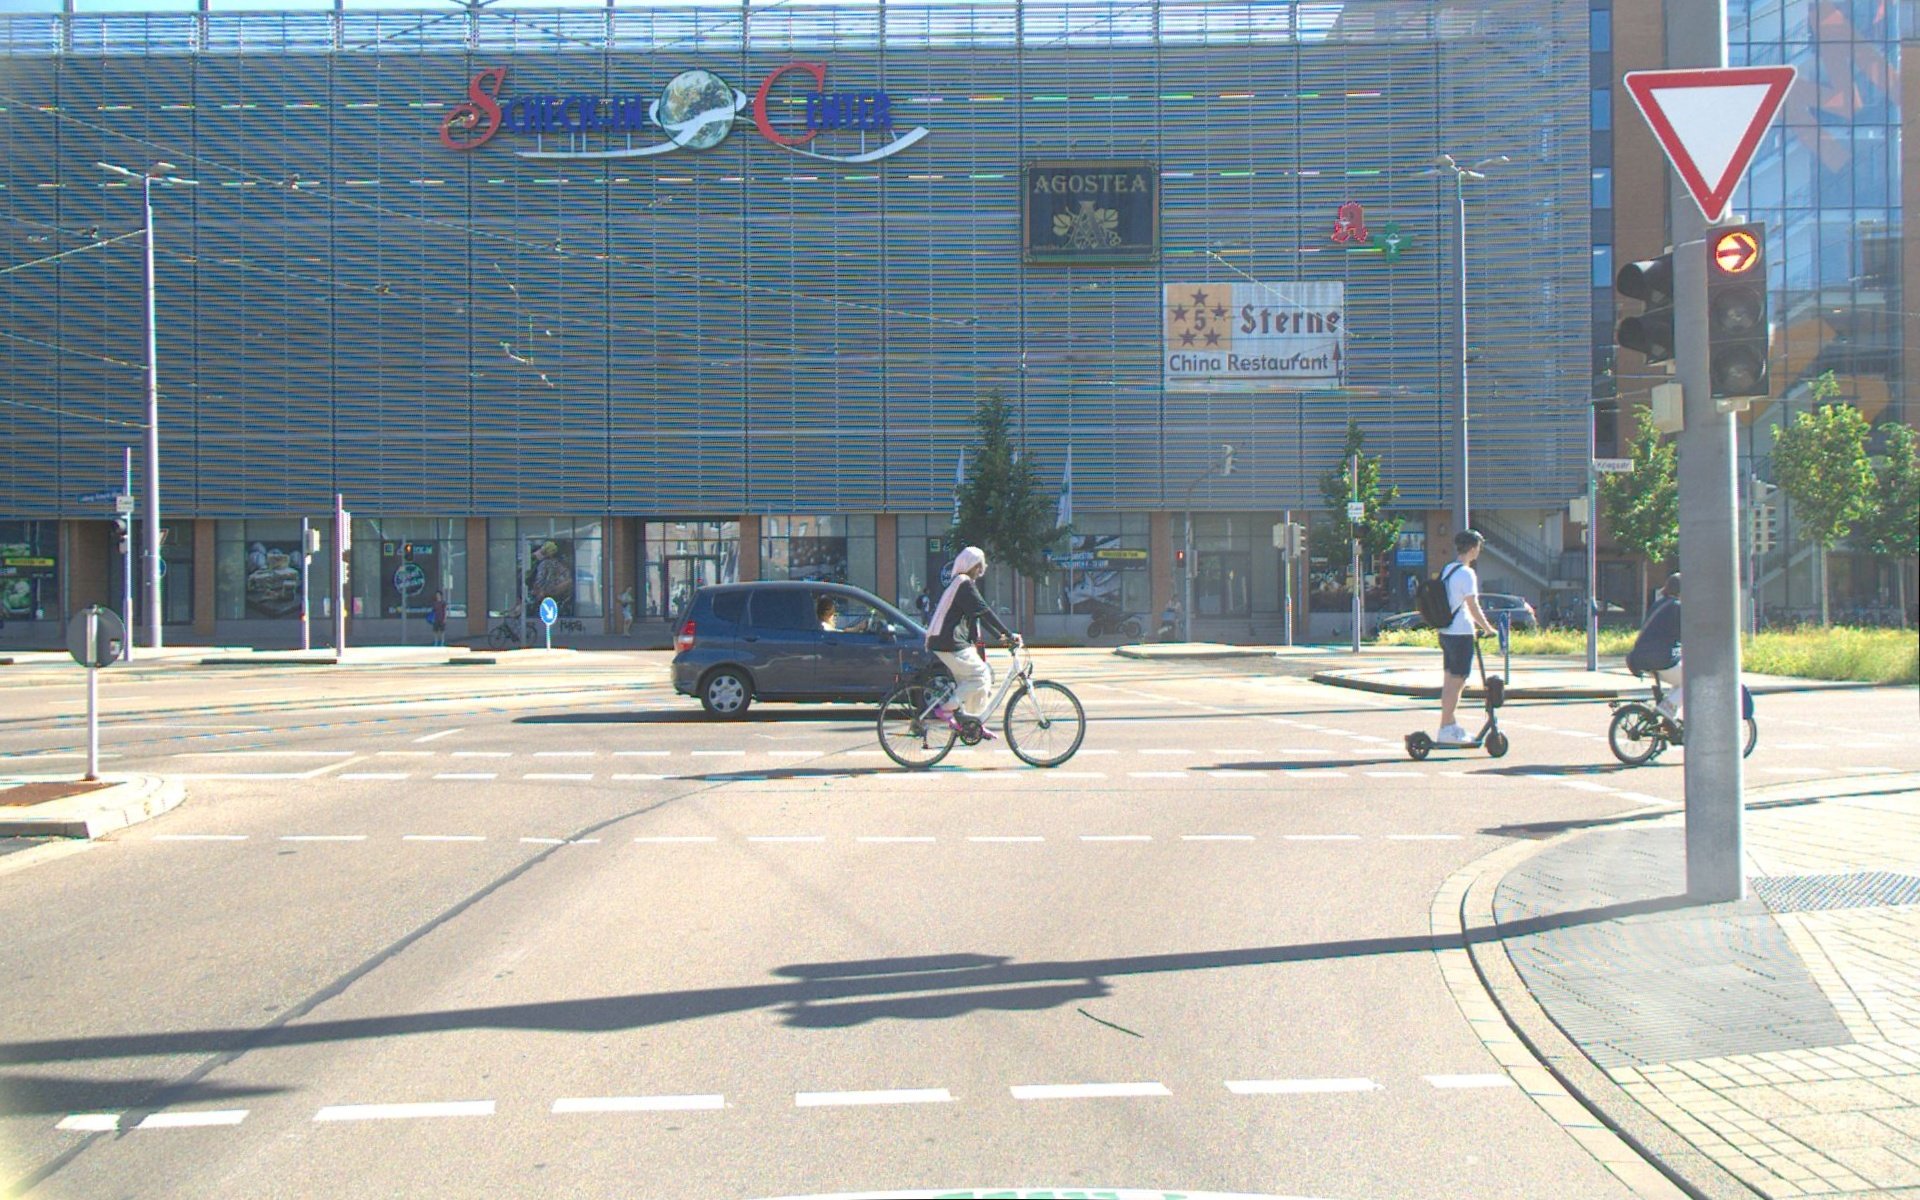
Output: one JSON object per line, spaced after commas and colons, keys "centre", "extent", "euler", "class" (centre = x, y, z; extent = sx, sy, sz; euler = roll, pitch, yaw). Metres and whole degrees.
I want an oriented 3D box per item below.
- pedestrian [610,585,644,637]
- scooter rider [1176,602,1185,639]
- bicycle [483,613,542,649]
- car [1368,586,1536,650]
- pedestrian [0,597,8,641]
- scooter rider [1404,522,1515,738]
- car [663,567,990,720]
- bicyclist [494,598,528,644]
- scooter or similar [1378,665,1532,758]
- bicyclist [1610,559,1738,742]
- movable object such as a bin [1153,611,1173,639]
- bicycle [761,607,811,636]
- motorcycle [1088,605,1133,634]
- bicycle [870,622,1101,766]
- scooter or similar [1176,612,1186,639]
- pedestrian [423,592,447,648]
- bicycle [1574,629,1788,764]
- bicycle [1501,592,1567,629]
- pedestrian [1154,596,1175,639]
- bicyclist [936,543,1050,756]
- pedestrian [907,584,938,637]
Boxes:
{"centre": [-12.107, 0.404, 60.156], "extent": [0.930, 1.860, 0.846], "euler": [-2, 0, 5], "class": "pedestrian"}
{"centre": [7.357, 0.668, 55.125], "extent": [0.282, 1.221, 0.386], "euler": [1, -1, 10], "class": "scooter rider"}
{"centre": [-14.771, 1.006, 54.615], "extent": [0.559, 1.105, 1.852], "euler": [0, 2, 42], "class": "bicycle"}
{"centre": [13.666, 0.498, 46.041], "extent": [4.063, 1.495, 1.840], "euler": [3, -1, -2], "class": "car"}
{"centre": [-36.322, 0.709, 62.208], "extent": [0.646, 1.629, 0.594], "euler": [1, -1, 18], "class": "pedestrian"}
{"centre": [4.521, 0.270, 14.987], "extent": [0.770, 1.905, 0.572], "euler": [1, -1, -11], "class": "scooter rider"}
{"centre": [-1.556, 0.465, 19.192], "extent": [3.619, 1.674, 1.644], "euler": [0, 0, -7], "class": "car"}
{"centre": [-14.803, 0.689, 54.540], "extent": [0.663, 1.452, 0.844], "euler": [0, 2, 42], "class": "bicyclist"}
{"centre": [4.473, 1.001, 14.970], "extent": [1.186, 0.799, 0.613], "euler": [1, 0, -11], "class": "scooter or similar"}
{"centre": [6.370, 0.450, 14.769], "extent": [0.866, 1.594, 0.572], "euler": [1, -1, -11], "class": "bicyclist"}
{"centre": [6.738, 0.832, 54.892], "extent": [0.599, 0.920, 0.970], "euler": [1, 0, 10], "class": "movable object such as a bin"}
{"centre": [-6.369, 0.778, 60.428], "extent": [1.783, 1.006, 0.556], "euler": [0, 1, -11], "class": "bicycle"}
{"centre": [5.526, 0.728, 60.703], "extent": [1.605, 1.022, 0.447], "euler": [1, 0, 6], "class": "motorcycle"}
{"centre": [0.200, 0.781, 13.872], "extent": [1.864, 1.157, 0.580], "euler": [1, 0, -7], "class": "bicycle"}
{"centre": [7.363, 0.835, 55.185], "extent": [0.288, 0.888, 1.004], "euler": [1, 0, 10], "class": "scooter or similar"}
{"centre": [-17.342, 0.661, 54.664], "extent": [0.683, 1.829, 0.727], "euler": [-2, 0, -17], "class": "pedestrian"}
{"centre": [6.438, 0.854, 14.778], "extent": [1.723, 1.157, 0.585], "euler": [1, 0, -11], "class": "bicycle"}
{"centre": [21.285, 0.393, 61.346], "extent": [2.209, 1.318, 0.605], "euler": [1, -1, -2], "class": "bicycle"}
{"centre": [6.853, 0.578, 55.359], "extent": [0.641, 1.438, 0.850], "euler": [1, 0, 10], "class": "pedestrian"}
{"centre": [0.270, 0.412, 13.886], "extent": [0.866, 1.736, 0.573], "euler": [1, -1, -7], "class": "bicyclist"}
{"centre": [-1.330, 0.375, 59.317], "extent": [0.991, 1.860, 1.036], "euler": [-2, 0, 3], "class": "pedestrian"}
